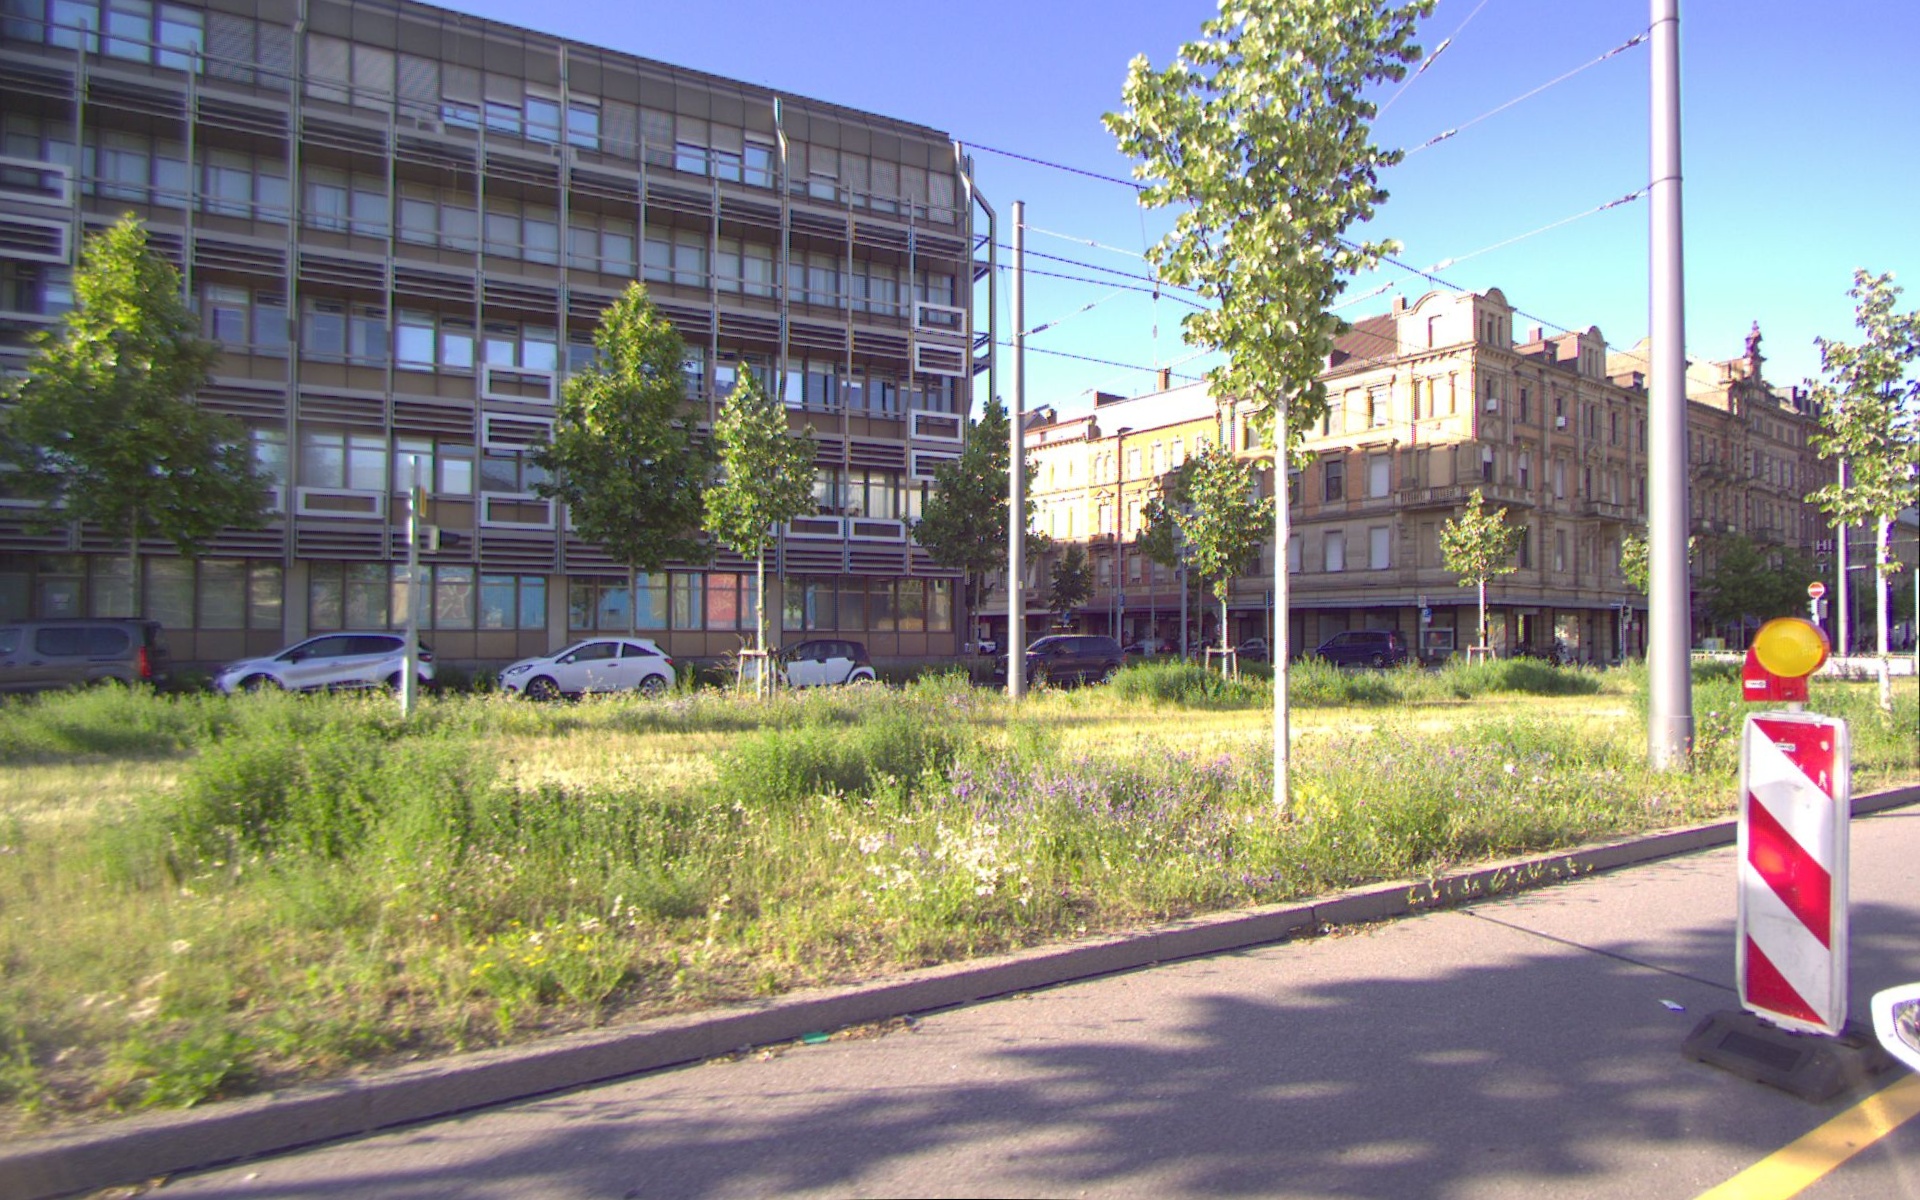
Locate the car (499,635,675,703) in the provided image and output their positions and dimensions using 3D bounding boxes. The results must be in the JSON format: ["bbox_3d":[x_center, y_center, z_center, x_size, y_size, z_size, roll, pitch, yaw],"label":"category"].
[{"bbox_3d":[-8.867,1.594,23.927,3.770,1.460,1.619,1,-1,-27],"label":"car"}]

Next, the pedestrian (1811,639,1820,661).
[{"bbox_3d":[63.011,3.682,73.981,0.421,1.606,0.401,2,0,-35],"label":"pedestrian"}]

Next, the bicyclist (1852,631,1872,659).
[{"bbox_3d":[53.371,2.656,59.428,0.873,1.679,0.691,2,-2,-34],"label":"bicyclist"}]

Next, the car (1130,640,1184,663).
[{"bbox_3d":[12.369,3.203,63.195,1.567,1.427,3.029,2,-3,-38],"label":"car"}]

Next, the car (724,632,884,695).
[{"bbox_3d":[-4.156,1.666,26.834,3.915,1.574,1.643,1,-2,-27],"label":"car"}]

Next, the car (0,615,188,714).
[{"bbox_3d":[-17.651,1.189,19.216,4.275,1.795,1.744,1,-1,-27],"label":"car"}]

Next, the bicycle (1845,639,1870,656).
[{"bbox_3d":[52.905,2.786,59.188,1.808,0.991,0.691,2,-2,-34],"label":"bicycle"}]

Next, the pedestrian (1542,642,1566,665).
[{"bbox_3d":[32.194,2.869,54.431,0.919,1.224,0.786,2,-2,-33],"label":"pedestrian"}]

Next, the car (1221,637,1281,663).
[{"bbox_3d":[16.669,2.857,57.684,1.372,1.487,3.120,2,-3,-38],"label":"car"}]

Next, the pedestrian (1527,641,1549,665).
[{"bbox_3d":[30.731,2.821,53.412,0.919,1.263,0.686,2,-2,-34],"label":"pedestrian"}]

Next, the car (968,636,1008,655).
[{"bbox_3d":[2.108,3.463,76.847,1.473,1.427,3.029,2,-3,-38],"label":"car"}]

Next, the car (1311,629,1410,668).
[{"bbox_3d":[20.828,2.509,52.395,1.882,1.928,4.475,2,-3,-38],"label":"car"}]

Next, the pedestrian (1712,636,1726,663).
[{"bbox_3d":[46.261,3.032,61.203,0.528,1.606,0.484,2,0,-34],"label":"pedestrian"}]

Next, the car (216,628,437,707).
[{"bbox_3d":[-13.398,1.388,21.532,3.834,1.556,1.731,1,-1,-27],"label":"car"}]

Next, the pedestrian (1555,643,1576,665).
[{"bbox_3d":[33.350,2.966,55.327,0.919,1.224,0.686,2,-2,-34],"label":"pedestrian"}]

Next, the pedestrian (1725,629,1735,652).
[{"bbox_3d":[55.251,2.927,72.082,0.383,1.606,0.385,2,0,-4],"label":"pedestrian"}]

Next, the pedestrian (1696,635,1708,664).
[{"bbox_3d":[46.475,3.104,62.920,0.402,1.788,0.504,2,0,-34],"label":"pedestrian"}]

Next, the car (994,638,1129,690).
[{"bbox_3d":[3.148,1.941,31.011,3.850,1.480,1.724,1,-1,-27],"label":"car"}]

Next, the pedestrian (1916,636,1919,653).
[{"bbox_3d":[85.497,3.950,89.444,0.430,1.553,0.402,2,0,-34],"label":"pedestrian"}]

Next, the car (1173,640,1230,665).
[{"bbox_3d":[14.610,3.168,60.862,1.567,1.427,3.029,2,-3,-38],"label":"car"}]

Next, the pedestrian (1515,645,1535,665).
[{"bbox_3d":[30.693,2.974,54.535,0.728,1.073,0.686,2,-2,-33],"label":"pedestrian"}]
